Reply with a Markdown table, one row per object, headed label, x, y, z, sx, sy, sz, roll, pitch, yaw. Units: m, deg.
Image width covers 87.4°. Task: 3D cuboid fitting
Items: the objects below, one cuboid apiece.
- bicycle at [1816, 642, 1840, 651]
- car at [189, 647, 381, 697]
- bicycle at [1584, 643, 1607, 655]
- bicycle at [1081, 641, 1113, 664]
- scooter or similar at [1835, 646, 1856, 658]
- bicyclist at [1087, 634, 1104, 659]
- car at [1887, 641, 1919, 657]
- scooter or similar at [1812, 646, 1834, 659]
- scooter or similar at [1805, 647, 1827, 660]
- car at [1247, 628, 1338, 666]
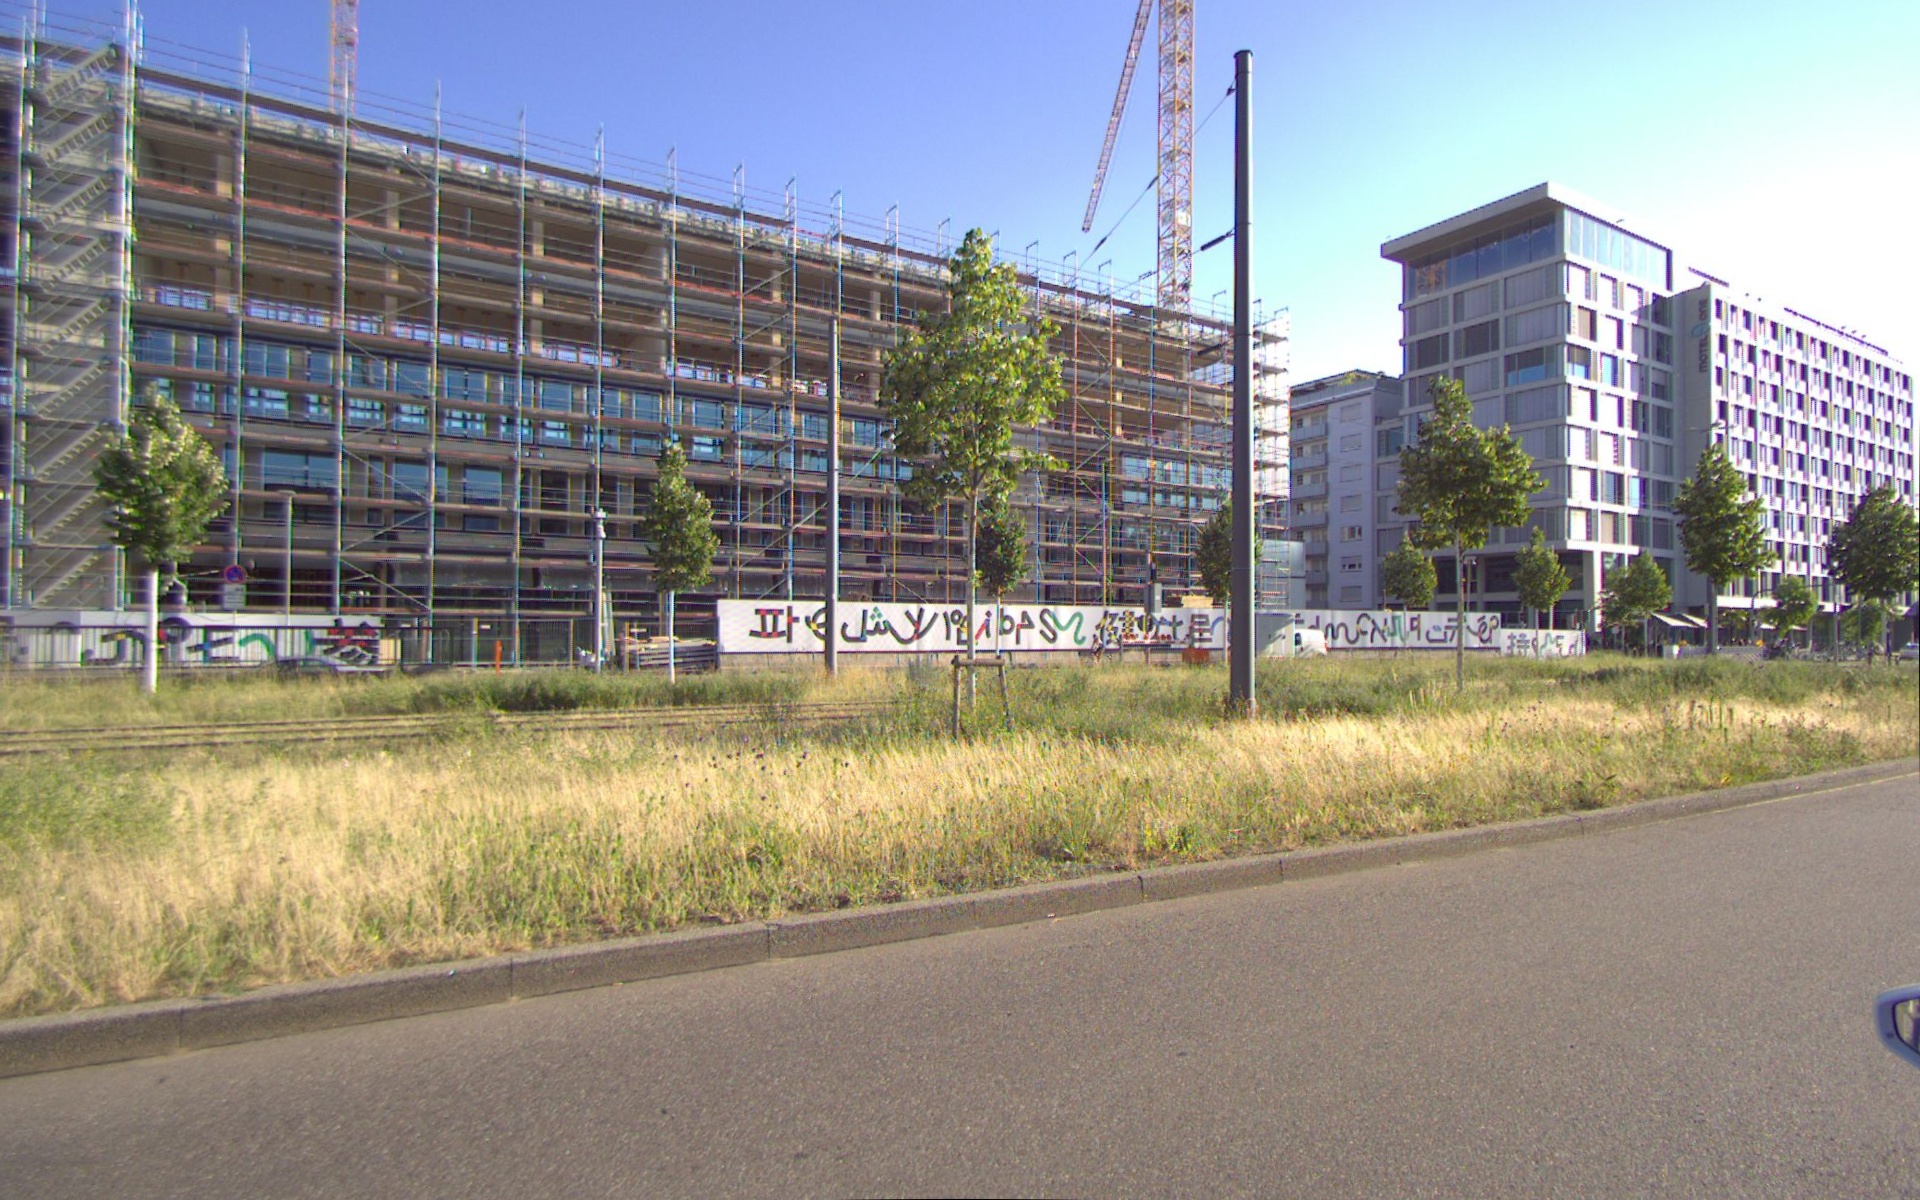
| label | x | y | z | sx | sy | sz | roll | pitch | yaw |
| --- | --- | --- | --- | --- | --- | --- | --- | --- | --- |
| bicycle | 87.026 | 4.668 | 100.747 | 0.507 | 0.917 | 1.791 | 2 | -2 | -37 |
| car | -16.510 | 1.738 | 24.770 | 3.799 | 1.082 | 1.614 | 1 | -2 | -32 |
| bicycle | 49.179 | 3.780 | 77.715 | 2.192 | 0.948 | 0.615 | 2 | -2 | -33 |
| bicycle | 6.537 | 2.516 | 47.964 | 1.545 | 1.075 | 0.476 | 1 | -2 | -29 |
| scooter or similar | 73.699 | 4.332 | 83.648 | 0.430 | 1.032 | 1.237 | 1 | -2 | -30 |
| bicyclist | 6.459 | 2.205 | 47.917 | 0.630 | 1.169 | 0.476 | 1 | -2 | -29 |
| car | 86.584 | 4.494 | 91.762 | 3.955 | 1.345 | 1.747 | 2 | 0 | -32 |
| scooter or similar | 69.858 | 4.223 | 81.320 | 0.430 | 1.032 | 1.237 | 1 | -2 | -30 |
| scooter or similar | 68.593 | 4.294 | 80.491 | 0.505 | 1.032 | 1.237 | 1 | -2 | -30 |
| car | 14.404 | 2.001 | 43.450 | 3.794 | 1.578 | 1.598 | 1 | -2 | -29 |
